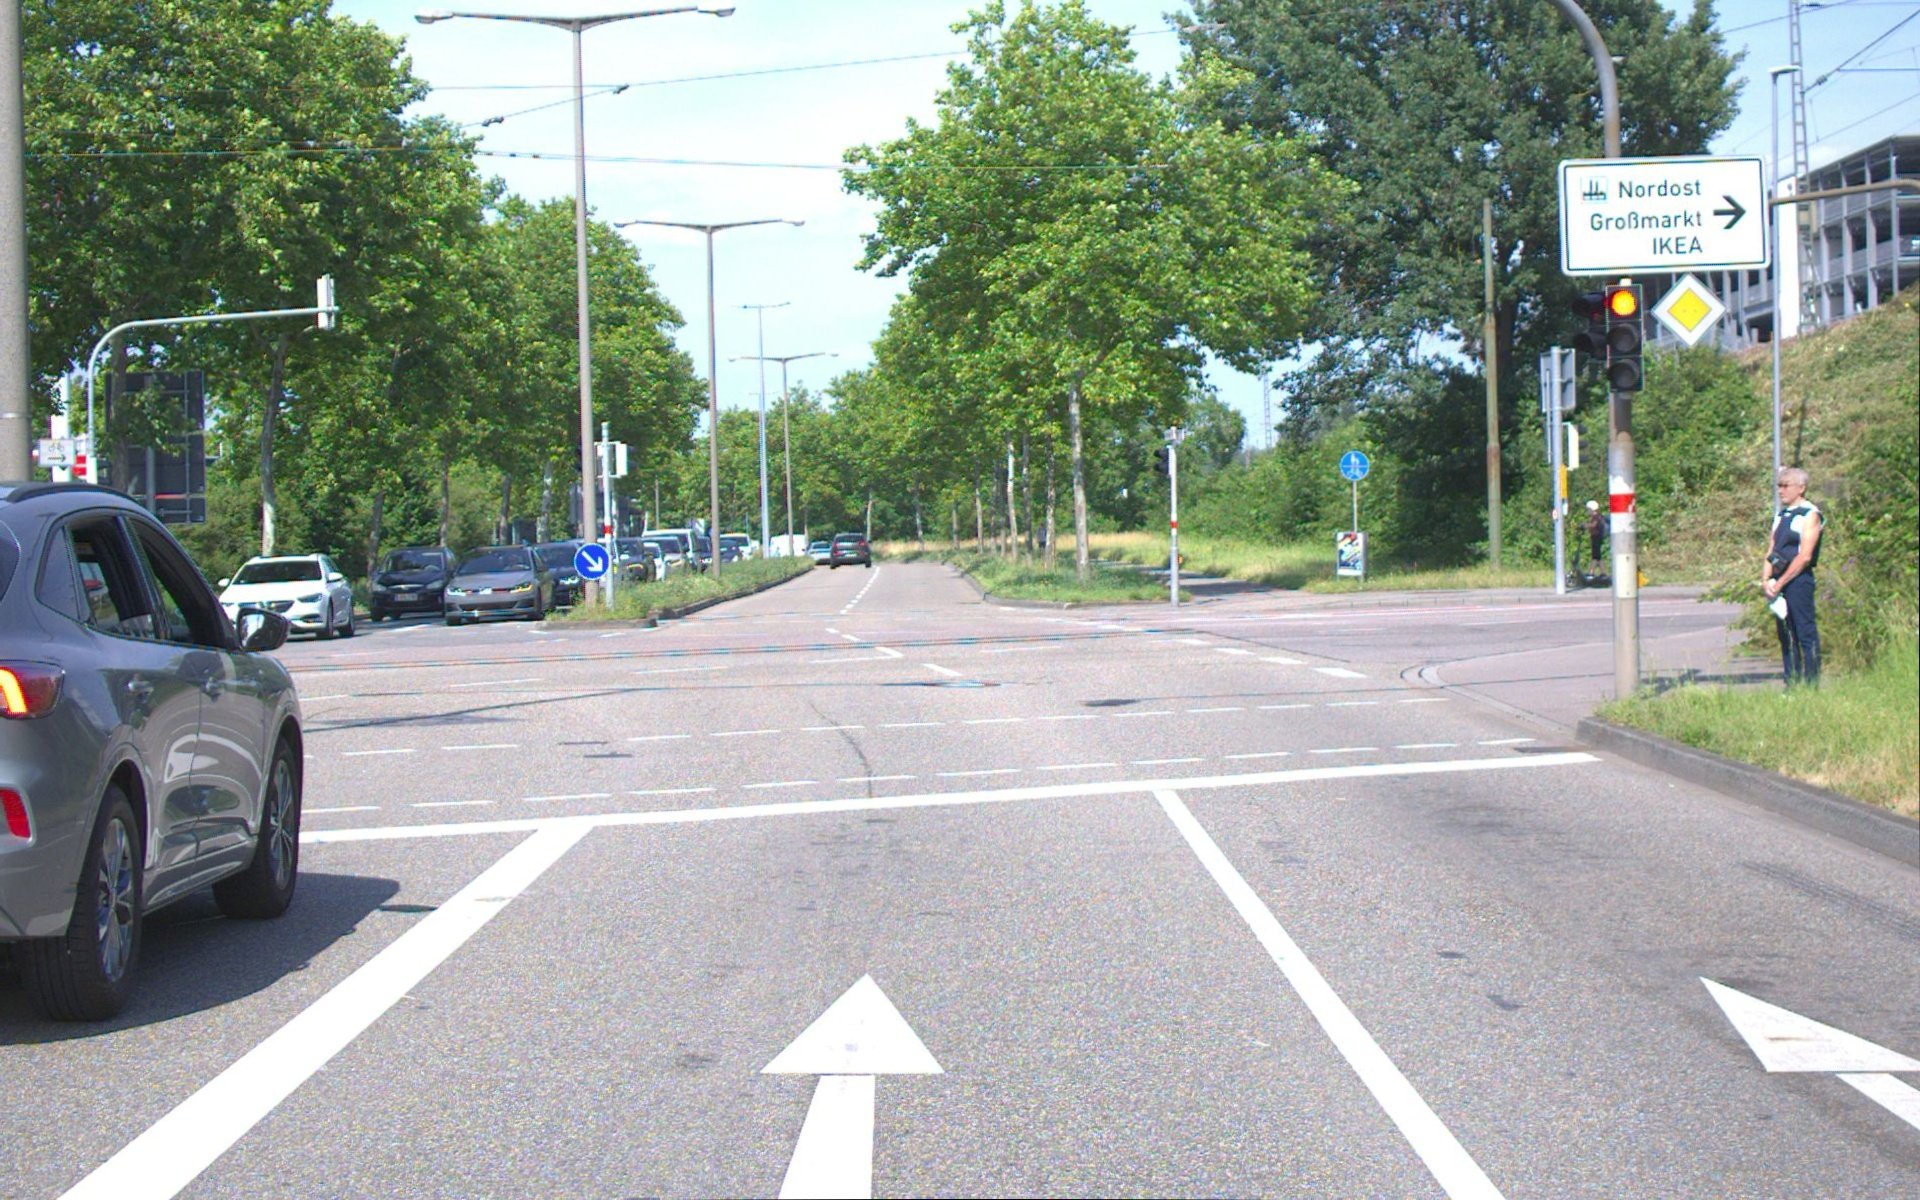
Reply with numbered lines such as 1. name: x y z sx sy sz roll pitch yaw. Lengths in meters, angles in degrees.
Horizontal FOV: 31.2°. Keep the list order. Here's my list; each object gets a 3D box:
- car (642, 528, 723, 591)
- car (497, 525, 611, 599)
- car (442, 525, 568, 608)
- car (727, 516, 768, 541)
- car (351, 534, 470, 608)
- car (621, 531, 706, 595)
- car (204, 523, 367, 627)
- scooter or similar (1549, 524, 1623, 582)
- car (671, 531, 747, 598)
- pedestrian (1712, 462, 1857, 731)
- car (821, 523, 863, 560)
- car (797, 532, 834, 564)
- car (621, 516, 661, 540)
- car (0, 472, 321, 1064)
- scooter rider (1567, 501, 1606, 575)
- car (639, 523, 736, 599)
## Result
1. car: -7.784 -1.158 96.703 1.993 1.672 4.000 -1 1 -1
2. car: -8.662 -0.838 73.712 1.993 1.495 4.000 -1 1 -1
3. car: -8.744 -0.671 66.292 1.918 1.508 4.000 -1 1 -1
4. car: -14.874 -5.019 240.683 1.865 1.689 4.411 -2 1 -16
5. car: -12.065 -0.661 75.724 1.993 1.508 4.000 -1 1 -1
6. car: -7.747 -0.985 90.150 1.903 1.590 4.000 -1 1 -1
7. car: -11.302 -0.449 57.862 1.993 1.507 4.001 -1 3 -1
8. scooter or similar: 12.155 -0.913 66.786 1.344 1.094 0.492 -1 1 5
9. car: -7.450 -1.067 102.396 1.993 1.889 4.376 -1 1 -1
10. pedestrian: 6.053 -0.041 25.275 0.837 1.926 0.772 -1 3 -3
11. car: -5.380 -2.683 157.059 1.736 1.530 4.001 -1 3 0
12. car: -7.971 -2.898 190.048 1.866 1.689 4.410 -1 1 -1
13. car: -23.960 -5.402 258.417 1.865 1.689 4.411 -2 1 -20
14. car: -3.449 0.425 11.464 1.881 1.612 4.213 -1 1 -1
15. scooter rider: 12.160 -1.199 66.782 0.675 1.423 0.492 -1 1 5
16. car: -6.418 -0.944 81.303 1.993 1.690 4.000 -1 1 -1
